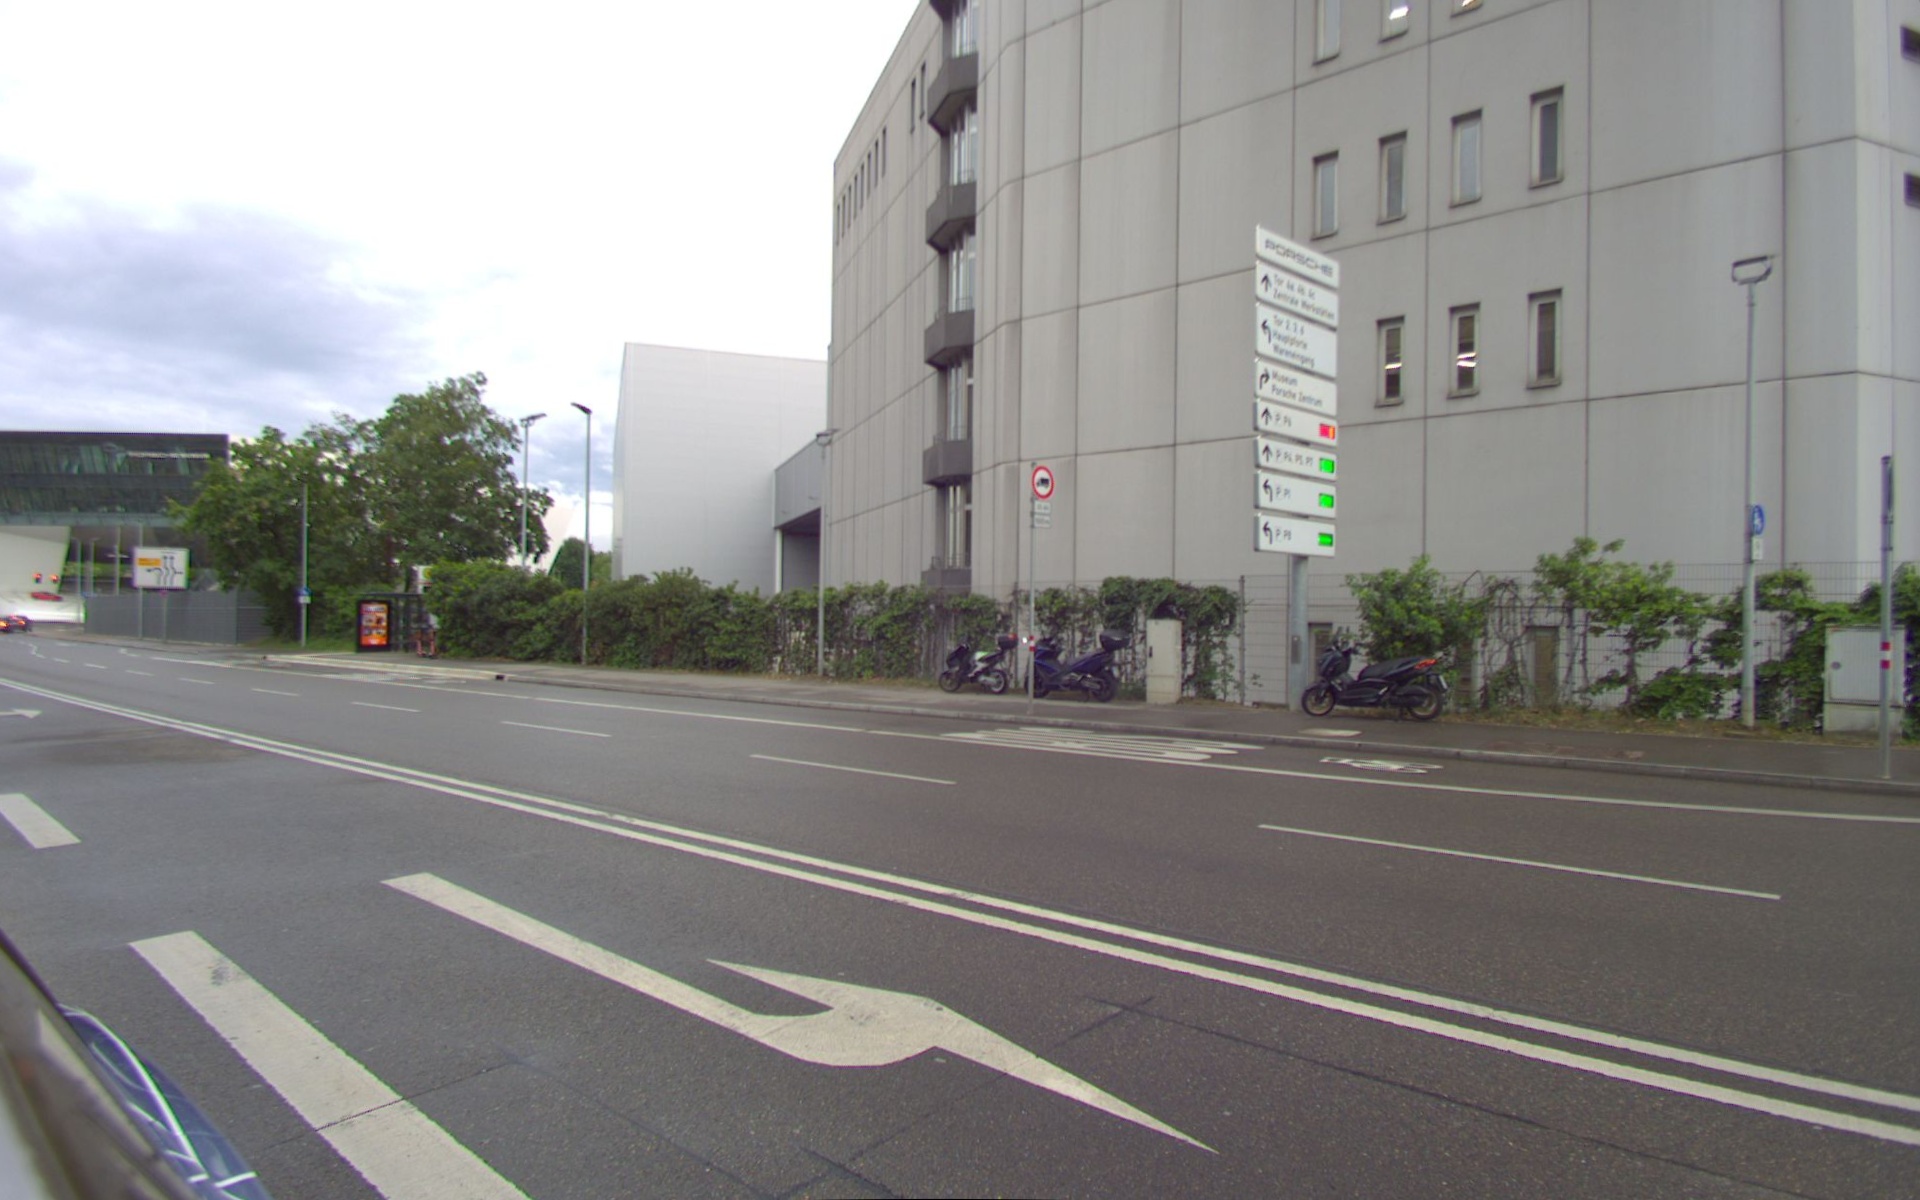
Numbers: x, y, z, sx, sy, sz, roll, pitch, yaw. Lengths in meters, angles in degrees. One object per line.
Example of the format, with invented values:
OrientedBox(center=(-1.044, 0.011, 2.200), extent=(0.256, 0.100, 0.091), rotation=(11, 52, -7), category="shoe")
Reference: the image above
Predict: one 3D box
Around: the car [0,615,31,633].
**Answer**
OrientedBox(center=(-88.915, 2.275, 94.893), extent=(1.834, 1.663, 3.799), rotation=(1, -2, -30), category="car")

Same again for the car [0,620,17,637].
OrientedBox(center=(-85.019, 2.483, 89.021), extent=(2.233, 1.488, 4.059), rotation=(1, -1, -32), category="car")

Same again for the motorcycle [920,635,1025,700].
OrientedBox(center=(0.232, 1.354, 20.761), extent=(2.156, 1.260, 0.777), rotation=(-1, -2, 40), category="motorcycle")

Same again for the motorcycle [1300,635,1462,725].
OrientedBox(center=(6.385, 1.180, 15.433), extent=(2.156, 1.257, 0.777), rotation=(-1, -2, 40), category="motorcycle")

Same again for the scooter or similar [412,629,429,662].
OrientedBox(center=(-20.295, 1.697, 38.058), extent=(0.383, 1.189, 1.253), rotation=(1, -2, -36), category="scooter or similar")

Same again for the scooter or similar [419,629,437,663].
OrientedBox(center=(-19.409, 1.677, 36.935), extent=(0.373, 1.190, 1.380), rotation=(1, -2, -36), category="scooter or similar")

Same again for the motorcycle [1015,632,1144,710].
OrientedBox(center=(2.212, 1.287, 18.962), extent=(2.368, 1.358, 0.776), rotation=(-1, -2, 40), category="motorcycle")
